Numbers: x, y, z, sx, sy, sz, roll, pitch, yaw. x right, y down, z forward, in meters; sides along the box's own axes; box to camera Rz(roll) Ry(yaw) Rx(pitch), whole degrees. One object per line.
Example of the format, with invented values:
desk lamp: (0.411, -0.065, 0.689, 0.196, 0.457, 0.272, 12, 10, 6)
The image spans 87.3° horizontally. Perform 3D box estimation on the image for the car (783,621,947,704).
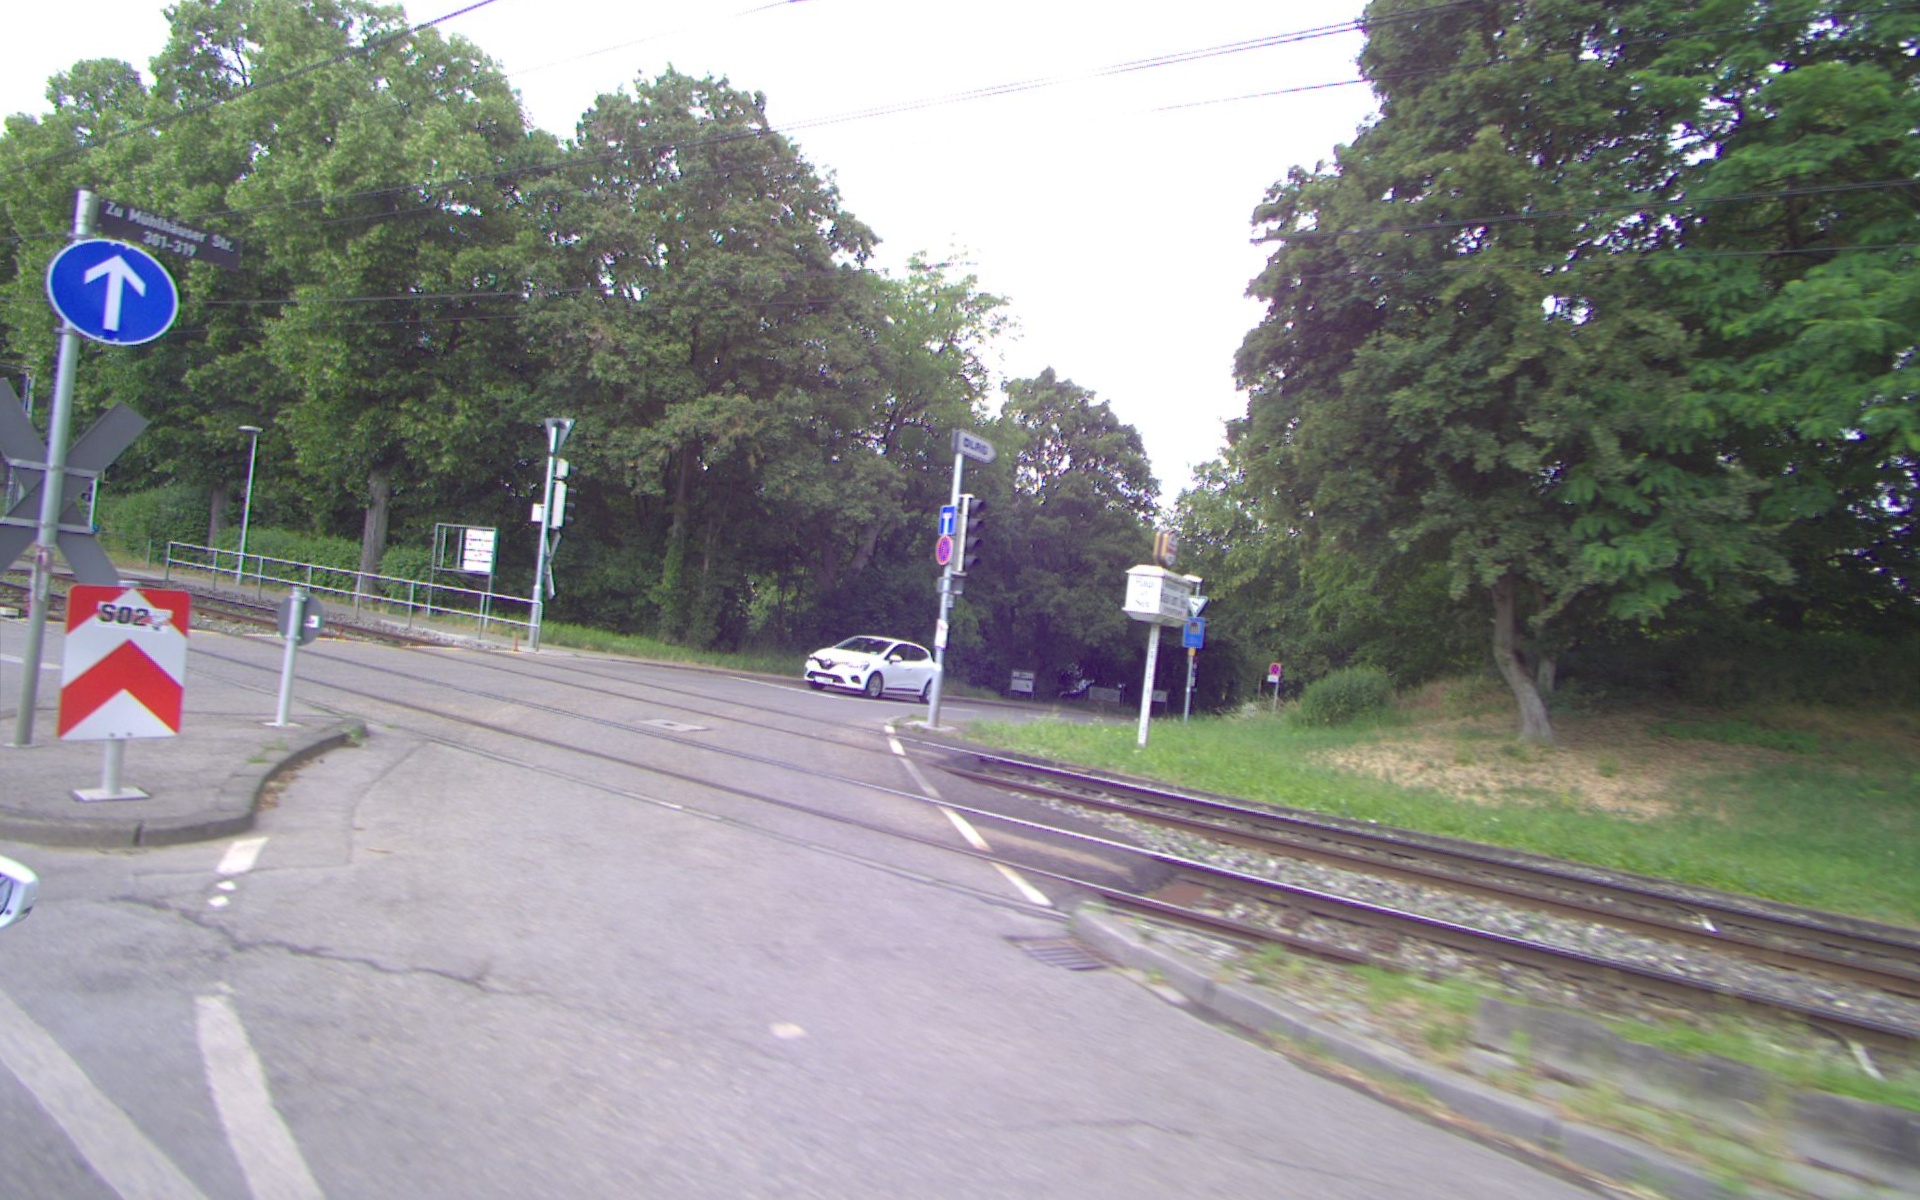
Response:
car: (-2.140, 1.532, 23.819, 1.965, 1.367, 4.005, 7, -5, 26)
